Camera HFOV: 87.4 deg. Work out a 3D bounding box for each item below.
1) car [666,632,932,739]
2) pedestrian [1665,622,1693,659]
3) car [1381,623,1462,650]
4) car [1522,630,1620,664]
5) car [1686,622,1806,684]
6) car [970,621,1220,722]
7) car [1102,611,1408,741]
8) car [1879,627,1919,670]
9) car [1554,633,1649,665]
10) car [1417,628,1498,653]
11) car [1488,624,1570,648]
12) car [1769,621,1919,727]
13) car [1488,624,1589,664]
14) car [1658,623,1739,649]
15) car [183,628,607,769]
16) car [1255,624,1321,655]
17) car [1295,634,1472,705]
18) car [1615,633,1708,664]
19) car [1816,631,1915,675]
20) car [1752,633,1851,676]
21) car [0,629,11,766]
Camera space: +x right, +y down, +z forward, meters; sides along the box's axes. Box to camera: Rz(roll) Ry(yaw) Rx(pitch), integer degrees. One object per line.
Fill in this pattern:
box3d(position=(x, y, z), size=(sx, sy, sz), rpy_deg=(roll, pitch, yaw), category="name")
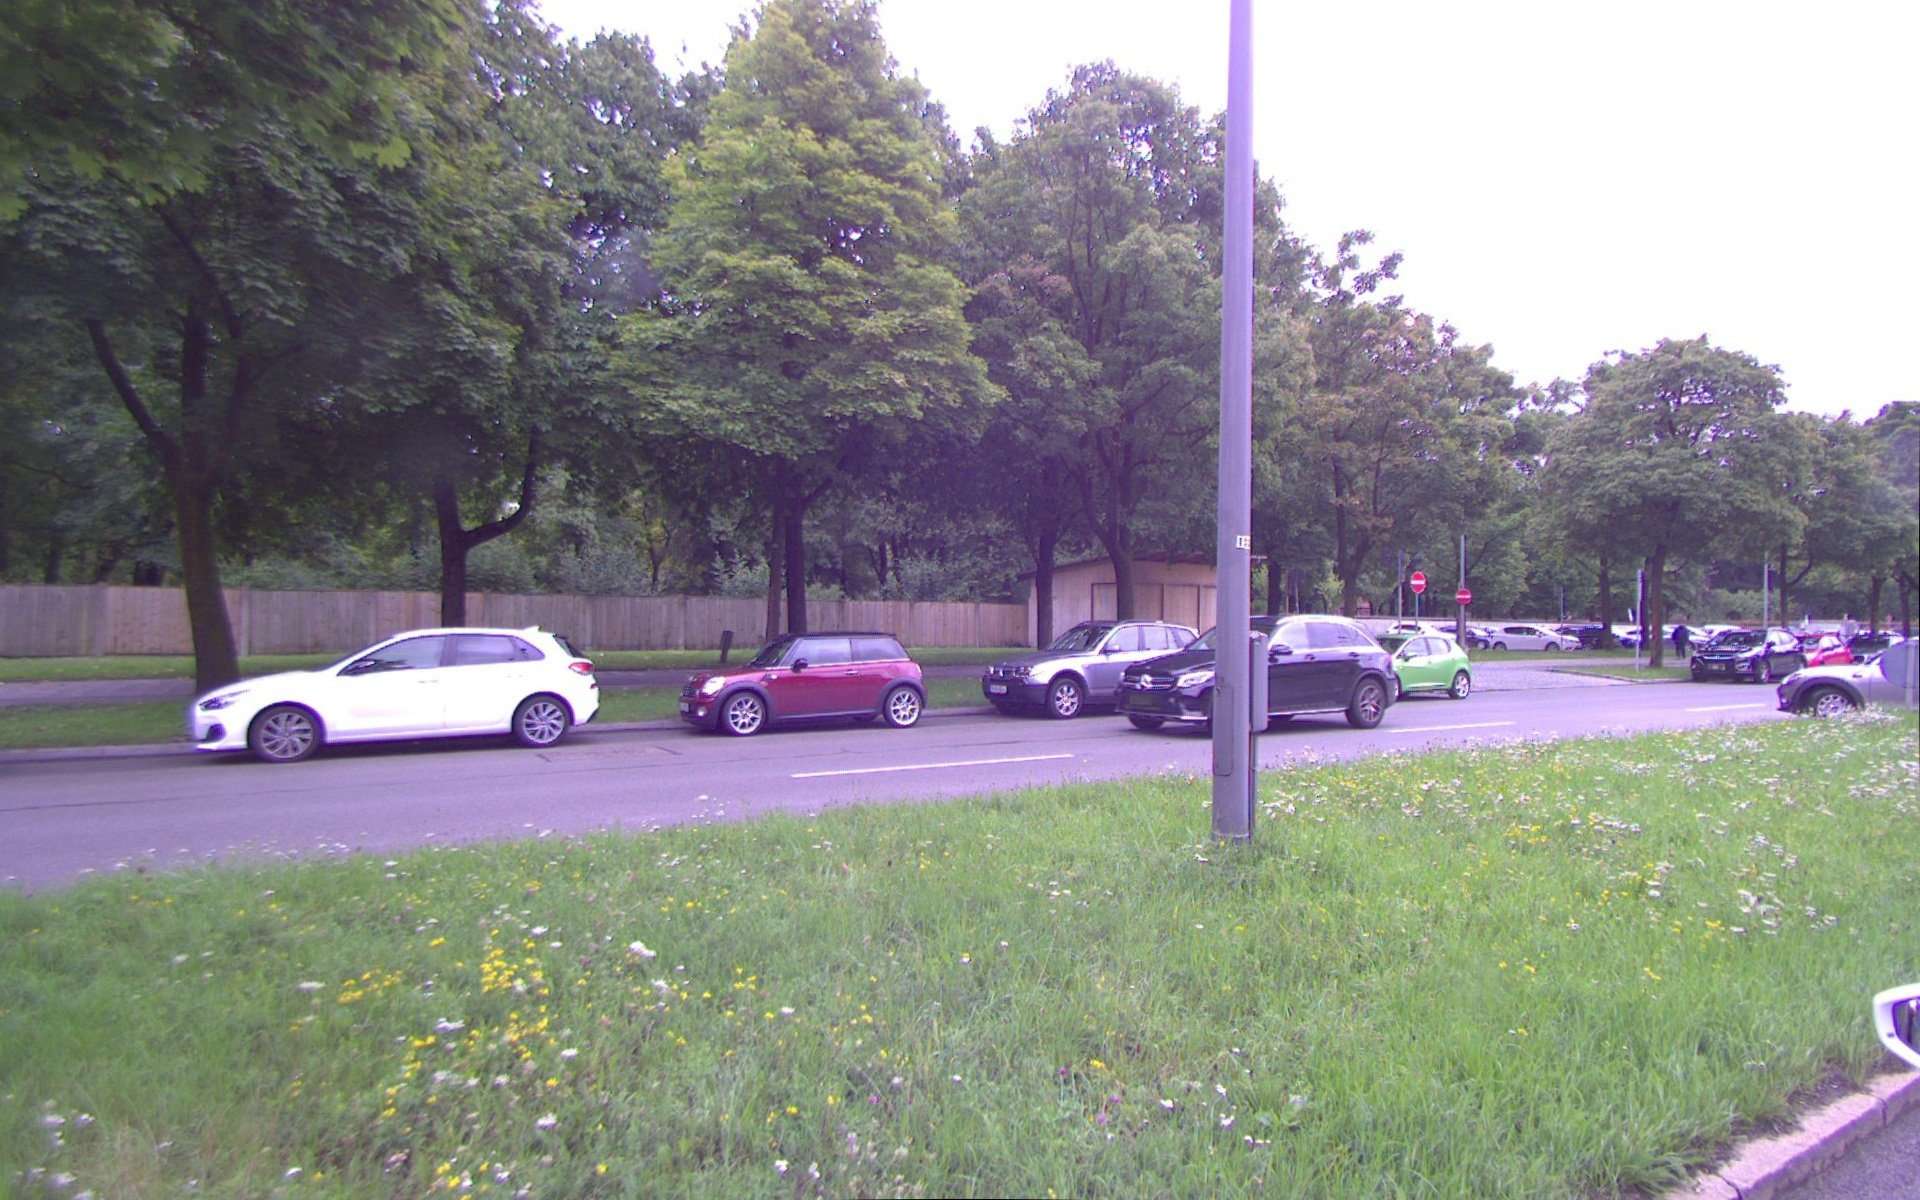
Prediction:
box3d(position=(-2.358, 1.187, 14.865), size=(3.586, 1.415, 1.584), rpy_deg=(1, -2, -29), category="car")
box3d(position=(30.683, 1.727, 42.844), size=(0.712, 1.554, 0.724), rpy_deg=(1, 0, -30), category="pedestrian")
box3d(position=(29.091, 2.290, 63.429), size=(1.653, 1.496, 4.485), rpy_deg=(2, 0, -29), category="car")
box3d(position=(30.350, 2.307, 49.955), size=(1.656, 1.465, 3.840), rpy_deg=(2, 0, -35), category="car")
box3d(position=(24.292, 1.618, 31.021), size=(3.836, 1.764, 1.707), rpy_deg=(2, 0, -32), category="car")
box3d(position=(2.439, 1.199, 17.796), size=(4.322, 1.607, 1.682), rpy_deg=(1, -2, -32), category="car")
box3d(position=(4.369, 1.038, 14.666), size=(4.455, 1.644, 1.757), rpy_deg=(1, -3, -31), category="car")
box3d(position=(37.355, 1.866, 38.940), size=(3.836, 1.579, 1.582), rpy_deg=(2, 0, -32), category="car")
box3d(position=(33.527, 2.523, 52.549), size=(1.656, 1.465, 3.840), rpy_deg=(2, 0, -35), category="car")
box3d(position=(32.700, 2.662, 66.202), size=(1.653, 1.465, 4.669), rpy_deg=(2, 0, -29), category="car")
box3d(position=(38.599, 2.446, 68.284), size=(1.653, 1.465, 4.669), rpy_deg=(2, 0, -29), category="car")
box3d(position=(14.560, 1.096, 14.879), size=(1.670, 1.482, 3.698), rpy_deg=(1, 0, -34), category="car")
box3d(position=(27.865, 2.078, 48.513), size=(1.656, 1.740, 3.892), rpy_deg=(1, 0, -35), category="car")
box3d(position=(46.985, 2.295, 64.001), size=(1.656, 1.465, 3.840), rpy_deg=(2, 0, -35), category="car")
box3d(position=(-6.662, 1.091, 12.238), size=(4.230, 1.463, 1.599), rpy_deg=(1, -2, -31), category="car")
box3d(position=(15.031, 1.791, 46.249), size=(1.639, 1.217, 4.421), rpy_deg=(2, 0, 1), category="car")
box3d(position=(9.303, 1.469, 22.022), size=(3.831, 1.428, 1.541), rpy_deg=(1, -2, -29), category="car")
box3d(position=(38.338, 2.631, 54.929), size=(1.656, 1.465, 3.840), rpy_deg=(2, 0, -35), category="car")
box3d(position=(32.609, 1.890, 36.154), size=(3.836, 1.465, 1.658), rpy_deg=(2, 0, -32), category="car")
box3d(position=(28.303, 1.816, 33.784), size=(3.343, 1.329, 1.582), rpy_deg=(2, 0, -32), category="car")
box3d(position=(-11.422, 0.975, 9.080), size=(3.856, 1.436, 1.604), rpy_deg=(1, -2, -33), category="car")
